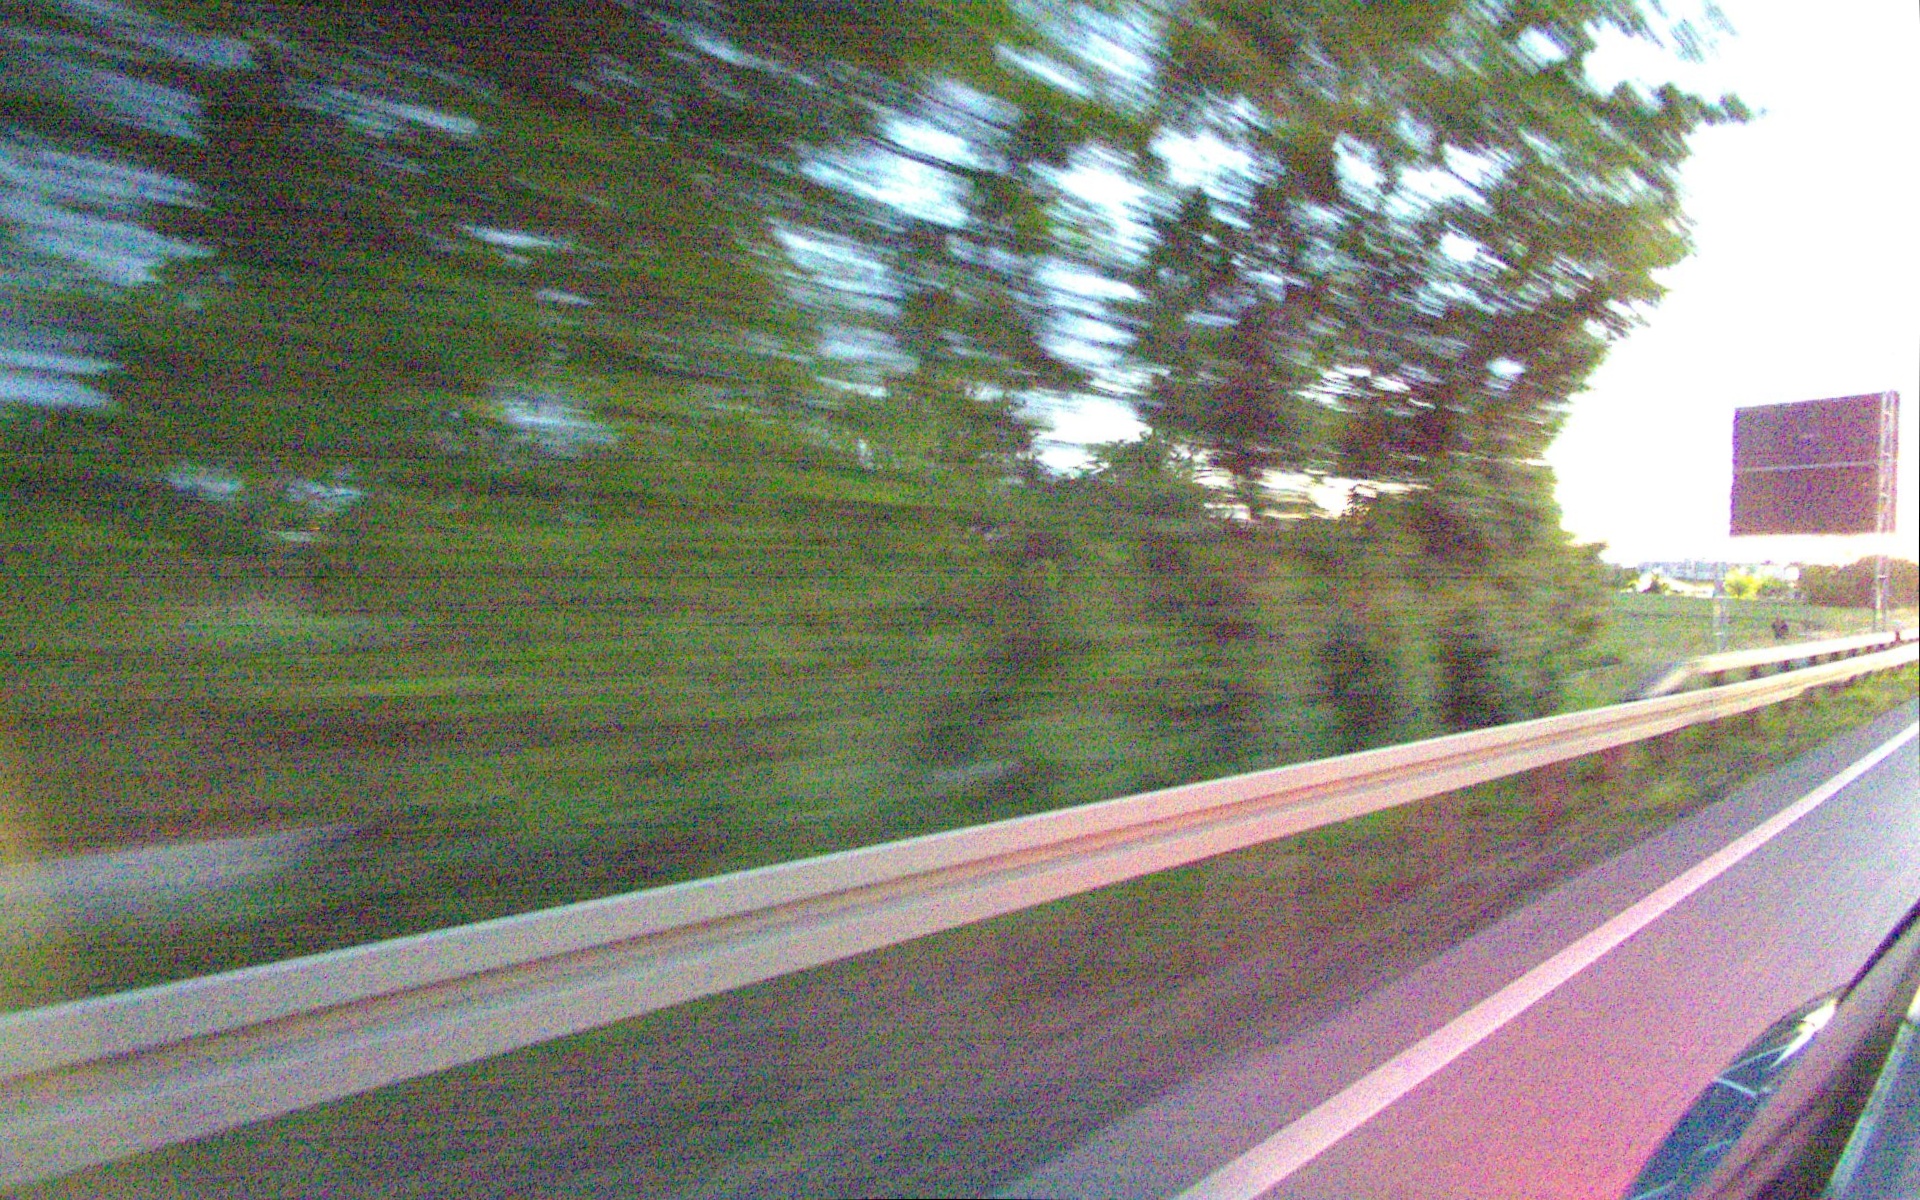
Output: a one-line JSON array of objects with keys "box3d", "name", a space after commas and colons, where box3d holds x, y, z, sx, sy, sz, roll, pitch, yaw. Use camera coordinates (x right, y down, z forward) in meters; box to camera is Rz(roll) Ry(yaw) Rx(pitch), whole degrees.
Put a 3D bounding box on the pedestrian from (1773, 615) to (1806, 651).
[{"box3d": [39.719, 1.563, 48.454, 1.099, 1.664, 1.063, 0, 0, -42], "name": "pedestrian"}]
